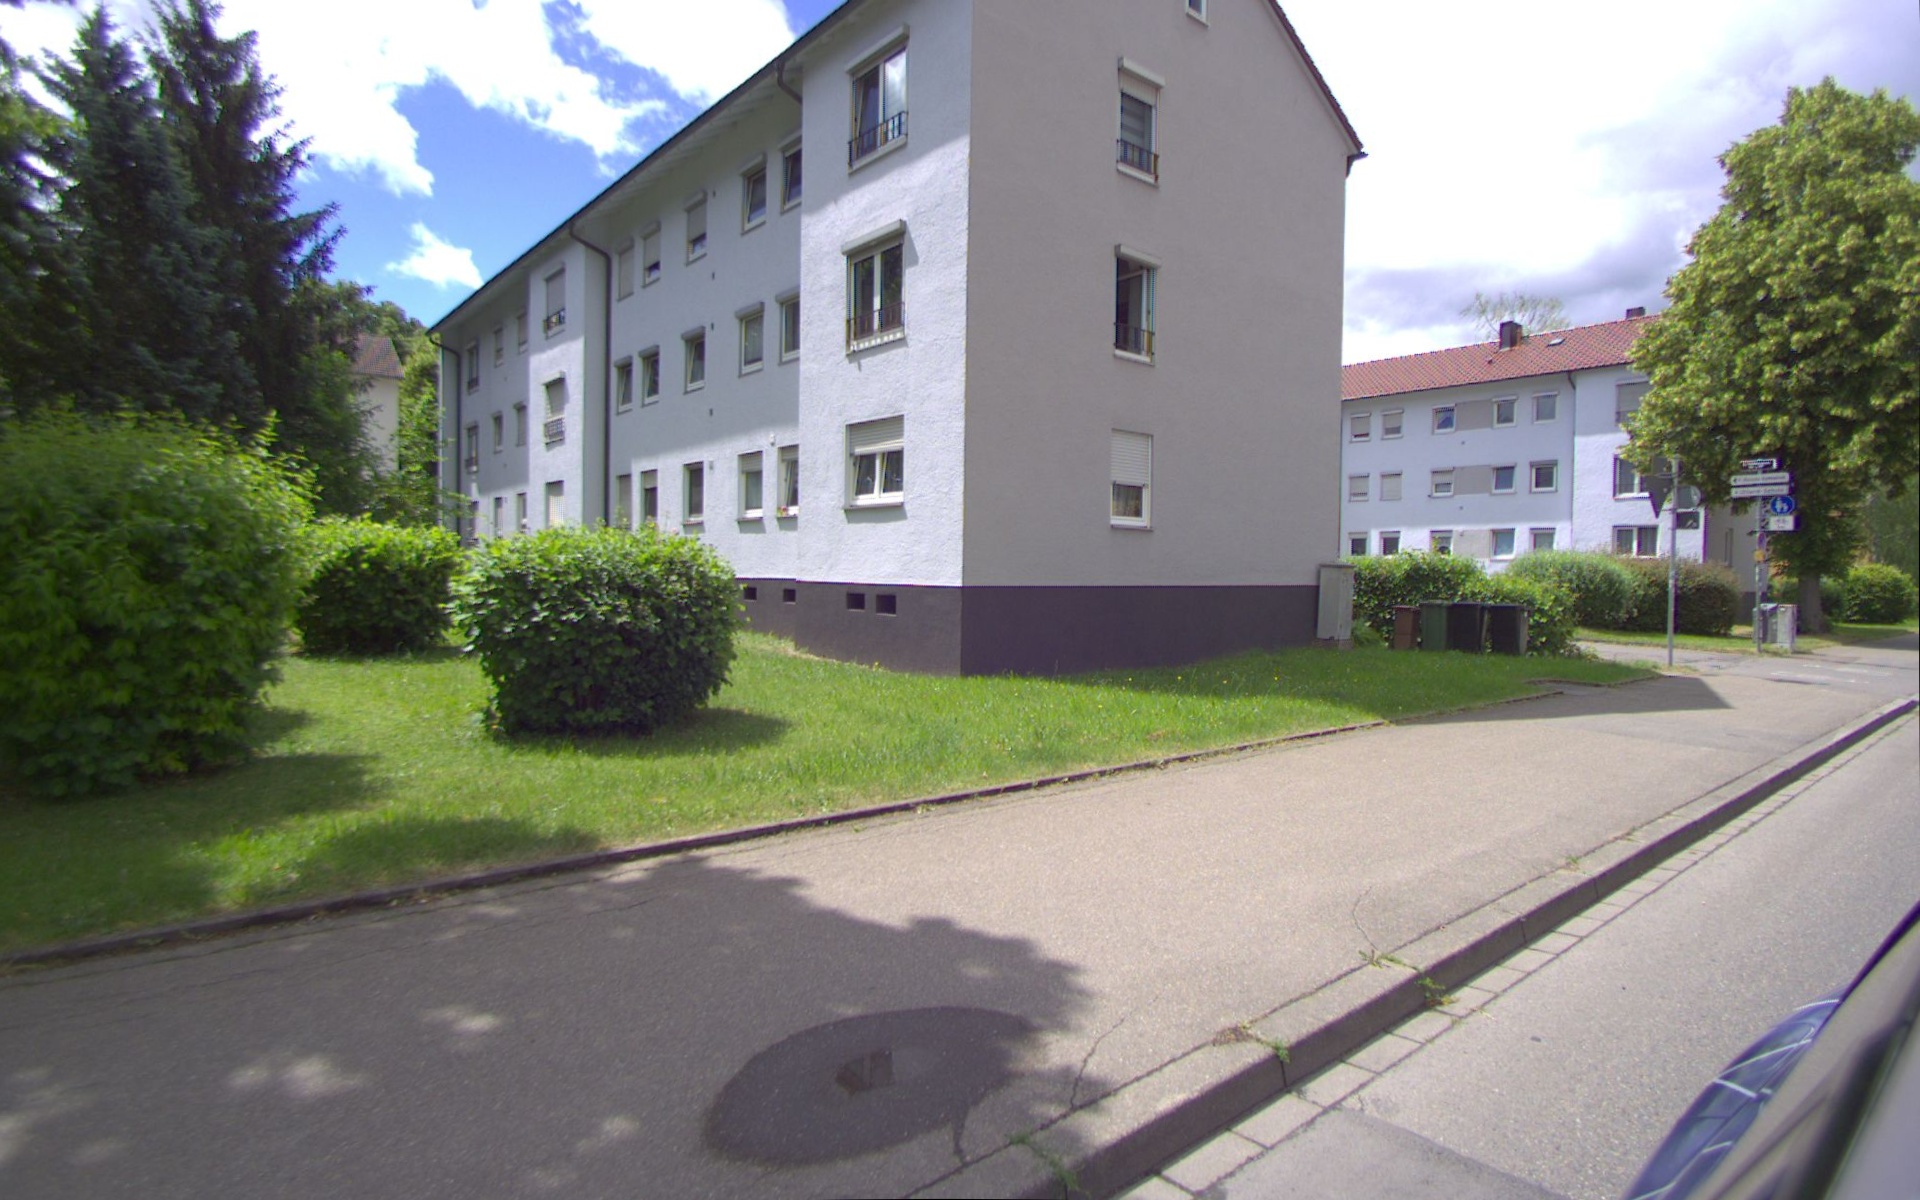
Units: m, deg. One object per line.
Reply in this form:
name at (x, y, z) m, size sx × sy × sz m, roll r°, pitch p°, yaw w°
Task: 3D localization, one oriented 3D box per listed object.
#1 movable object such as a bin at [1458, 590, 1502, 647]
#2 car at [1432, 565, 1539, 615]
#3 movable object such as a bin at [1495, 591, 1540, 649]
movable object such as a bin at (9.242, 0.320, 17.981) m, size 0.541 × 0.959 × 0.501 m, roll 0°, pitch 3°, yaw -41°
car at (15.972, -0.297, 30.716) m, size 3.678 × 1.433 × 1.678 m, roll -1°, pitch 0°, yaw -41°
movable object such as a bin at (9.701, 0.336, 17.602) m, size 0.570 × 0.966 × 0.497 m, roll 0°, pitch 3°, yaw -41°
